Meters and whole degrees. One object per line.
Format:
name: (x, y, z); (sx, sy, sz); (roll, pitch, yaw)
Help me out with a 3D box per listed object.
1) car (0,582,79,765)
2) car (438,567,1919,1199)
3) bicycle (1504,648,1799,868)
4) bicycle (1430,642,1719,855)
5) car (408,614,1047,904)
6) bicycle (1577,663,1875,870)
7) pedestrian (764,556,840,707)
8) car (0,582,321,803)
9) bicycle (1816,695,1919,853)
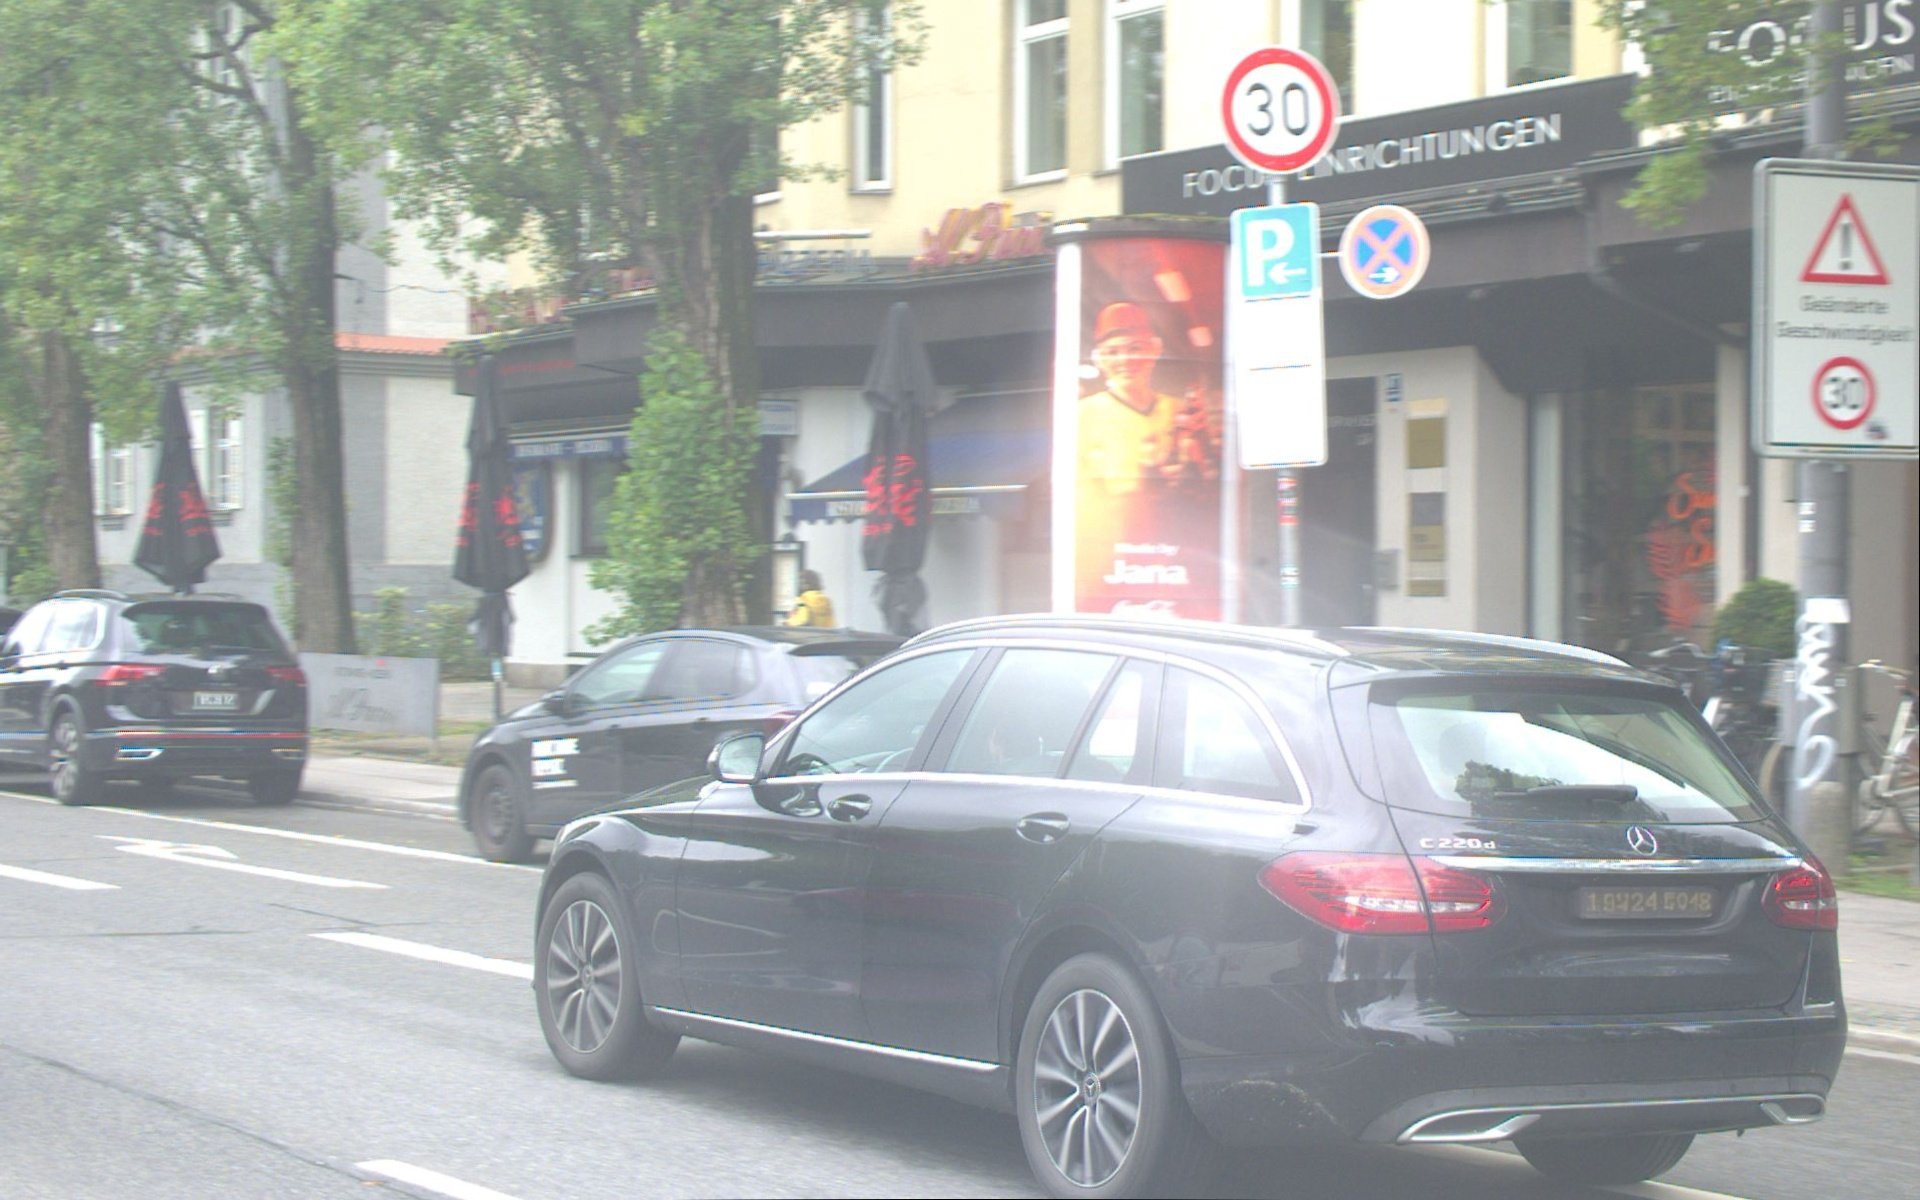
car: (-9.848, 0.635, 32.104); (1.799, 1.607, 4.305); (0, 0, -34)
car: (0.335, 0.715, 9.679); (1.863, 1.544, 4.703); (0, 1, -32)
bicycle: (3.937, 0.872, 19.511); (1.883, 1.181, 0.496); (0, 0, -36)
bicycle: (3.616, 0.846, 20.141); (1.883, 1.181, 0.496); (0, 0, -36)
car: (-1.452, 0.844, 20.005); (1.800, 1.461, 3.999); (1, 0, -37)
bicycle: (4.270, 0.901, 19.100); (1.883, 1.078, 0.496); (0, 0, -36)
pedestrian: (-1.650, 0.327, 35.943); (0.573, 1.557, 0.495); (1, 1, -33)
car: (-6.823, 0.668, 27.540); (1.721, 1.607, 4.470); (0, 0, -34)
bicycle: (5.629, 1.005, 20.171); (1.367, 0.880, 0.389); (0, 0, -36)
